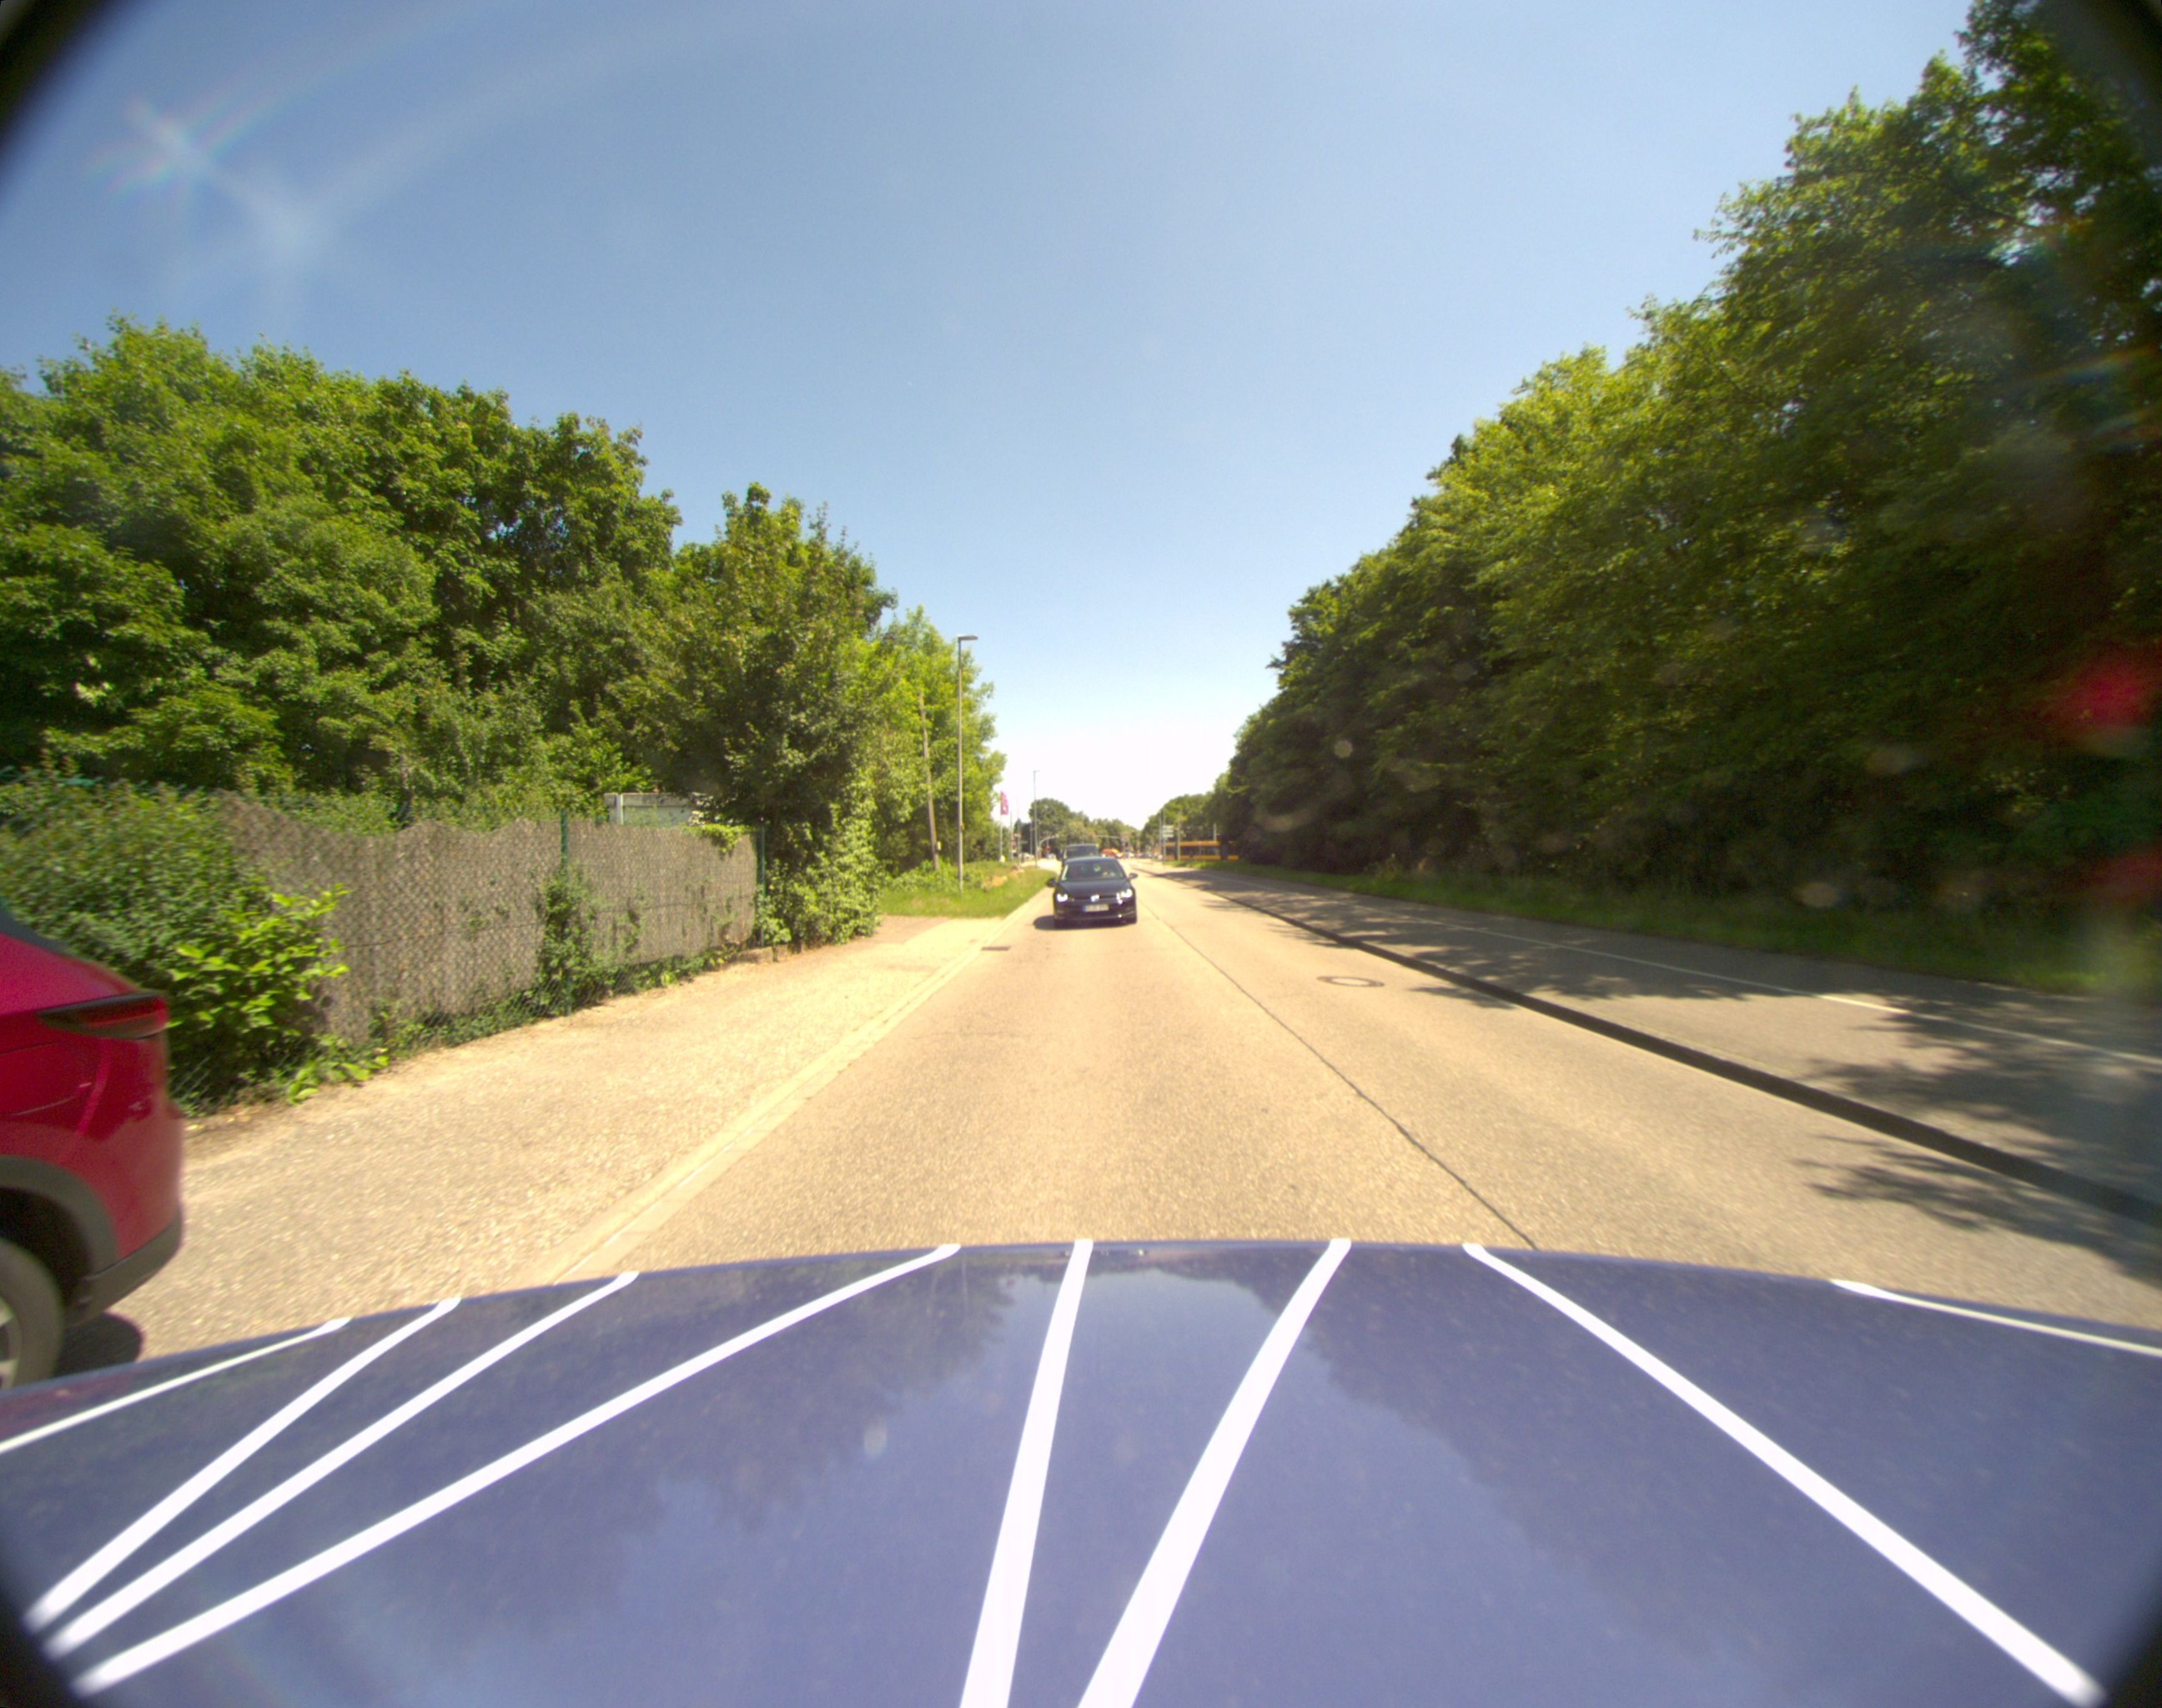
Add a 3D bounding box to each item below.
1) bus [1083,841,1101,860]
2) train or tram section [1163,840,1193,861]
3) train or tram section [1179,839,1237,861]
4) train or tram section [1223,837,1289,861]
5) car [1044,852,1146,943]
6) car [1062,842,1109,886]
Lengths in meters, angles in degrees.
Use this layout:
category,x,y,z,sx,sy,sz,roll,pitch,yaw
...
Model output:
category,x,y,z,sx,sy,sz,roll,pitch,yaw
bus,2.052,-0.725,138.650,2.931,3.248,8.329,-2,0,1
train or tram section,16.616,-0.598,131.115,2.579,3.446,10.847,-1,0,-7
train or tram section,20.092,-0.598,121.361,2.655,3.446,10.827,-2,1,-32
train or tram section,26.416,-0.678,114.803,9.326,3.446,2.788,-1,0,33
car,0.319,0.818,16.694,1.887,1.667,4.662,-1,0,1
car,0.139,0.450,36.277,2.002,1.965,4.449,-1,0,-3
